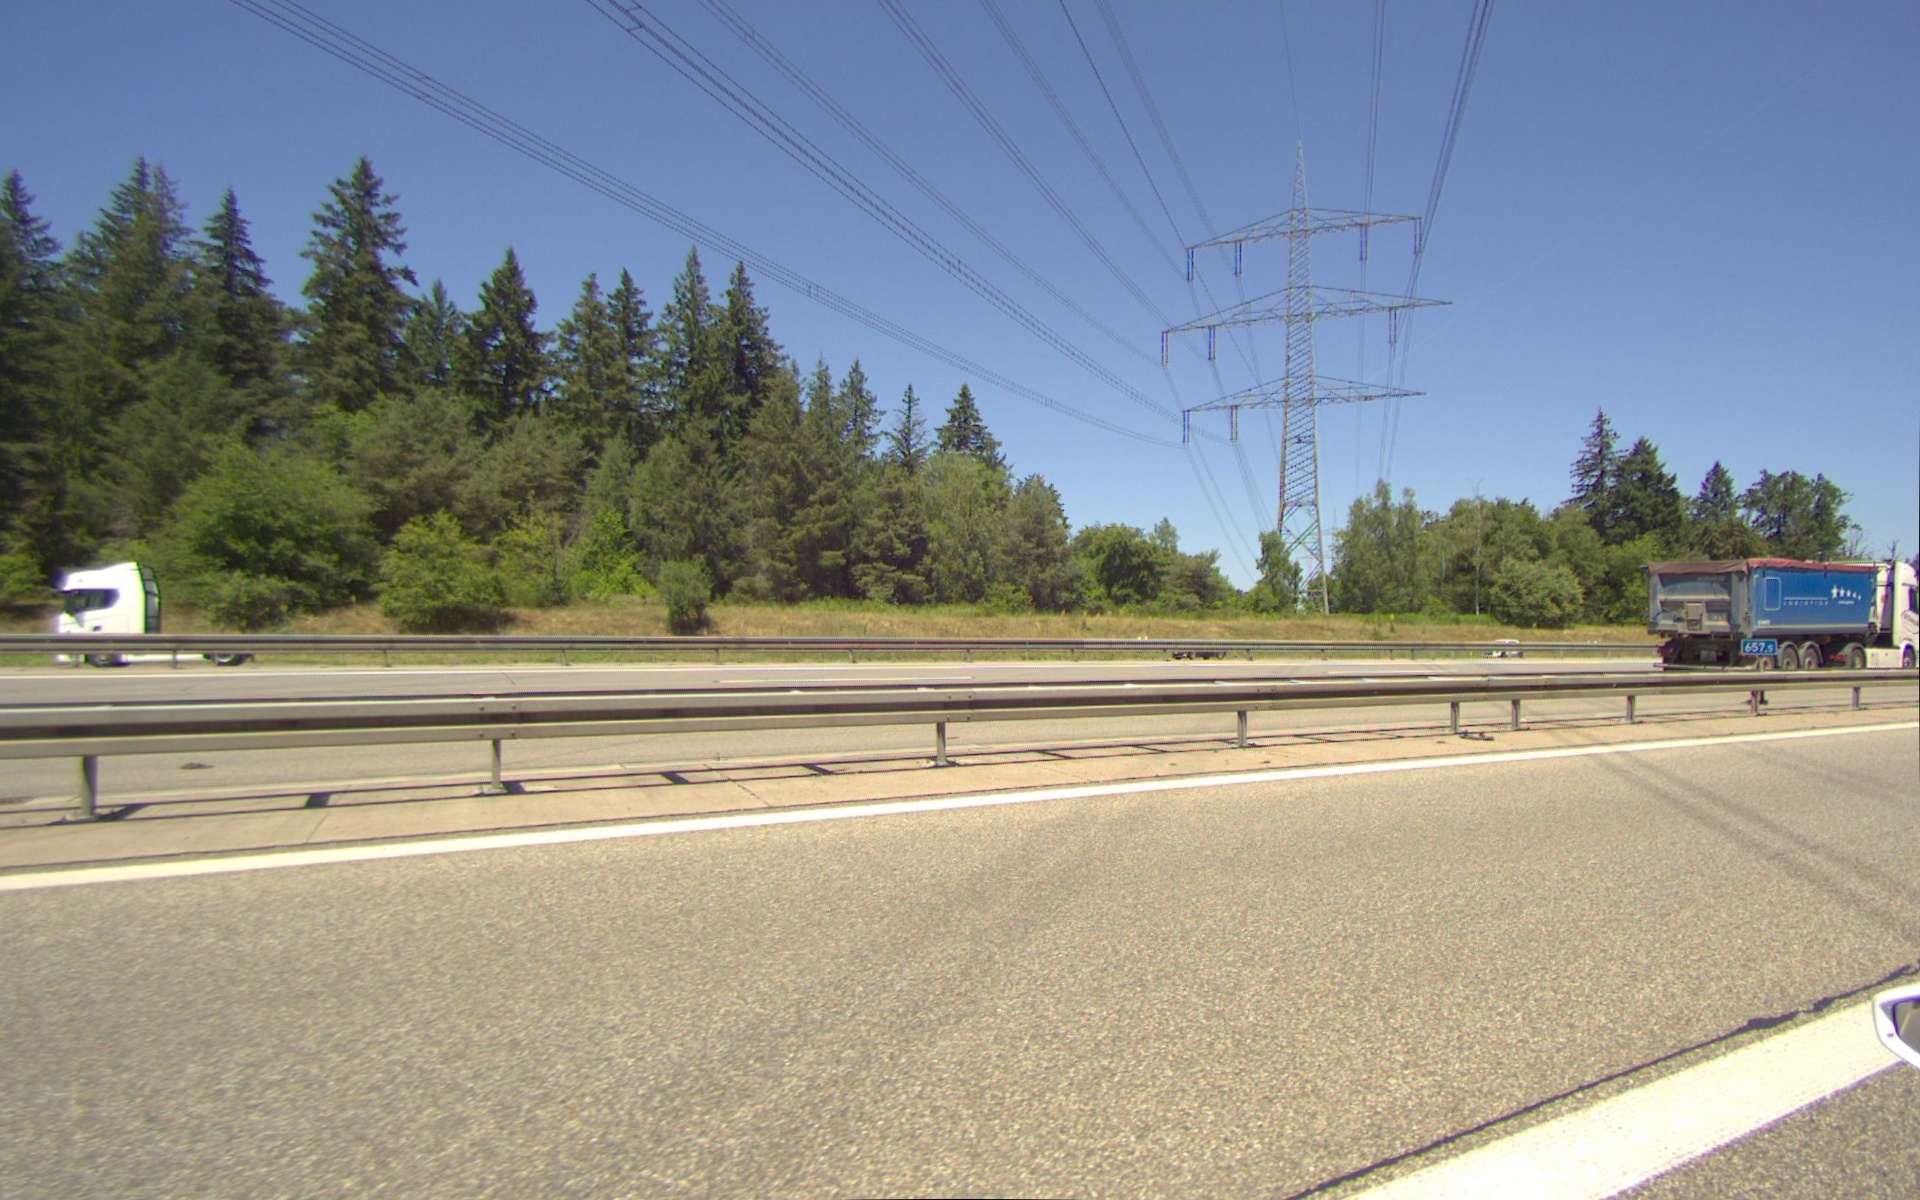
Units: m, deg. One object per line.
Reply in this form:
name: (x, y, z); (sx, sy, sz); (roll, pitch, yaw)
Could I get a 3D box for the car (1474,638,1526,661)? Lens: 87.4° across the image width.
car: (43.988, 4.022, 81.750); (3.954, 1.806, 1.984); (2, -2, -31)

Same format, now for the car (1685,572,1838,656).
car: (31.053, 0.605, 38.869); (6.402, 2.934, 2.619); (3, -2, -31)

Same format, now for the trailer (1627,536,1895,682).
trailer: (24.102, 0.337, 30.024); (9.764, 3.858, 2.759); (1, -1, -29)

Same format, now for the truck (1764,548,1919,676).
truck: (28.927, 0.427, 32.708); (4.565, 3.858, 2.745); (1, -1, -29)

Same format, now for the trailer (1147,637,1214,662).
trailer: (15.511, 3.430, 70.610); (4.406, 1.691, 1.984); (1, -1, -30)

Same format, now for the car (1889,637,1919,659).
car: (113.577, 5.771, 119.758); (6.828, 2.577, 1.985); (2, -2, -29)

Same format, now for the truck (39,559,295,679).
truck: (-31.334, 0.861, 40.186); (7.435, 4.402, 2.849); (3, -2, -27)
